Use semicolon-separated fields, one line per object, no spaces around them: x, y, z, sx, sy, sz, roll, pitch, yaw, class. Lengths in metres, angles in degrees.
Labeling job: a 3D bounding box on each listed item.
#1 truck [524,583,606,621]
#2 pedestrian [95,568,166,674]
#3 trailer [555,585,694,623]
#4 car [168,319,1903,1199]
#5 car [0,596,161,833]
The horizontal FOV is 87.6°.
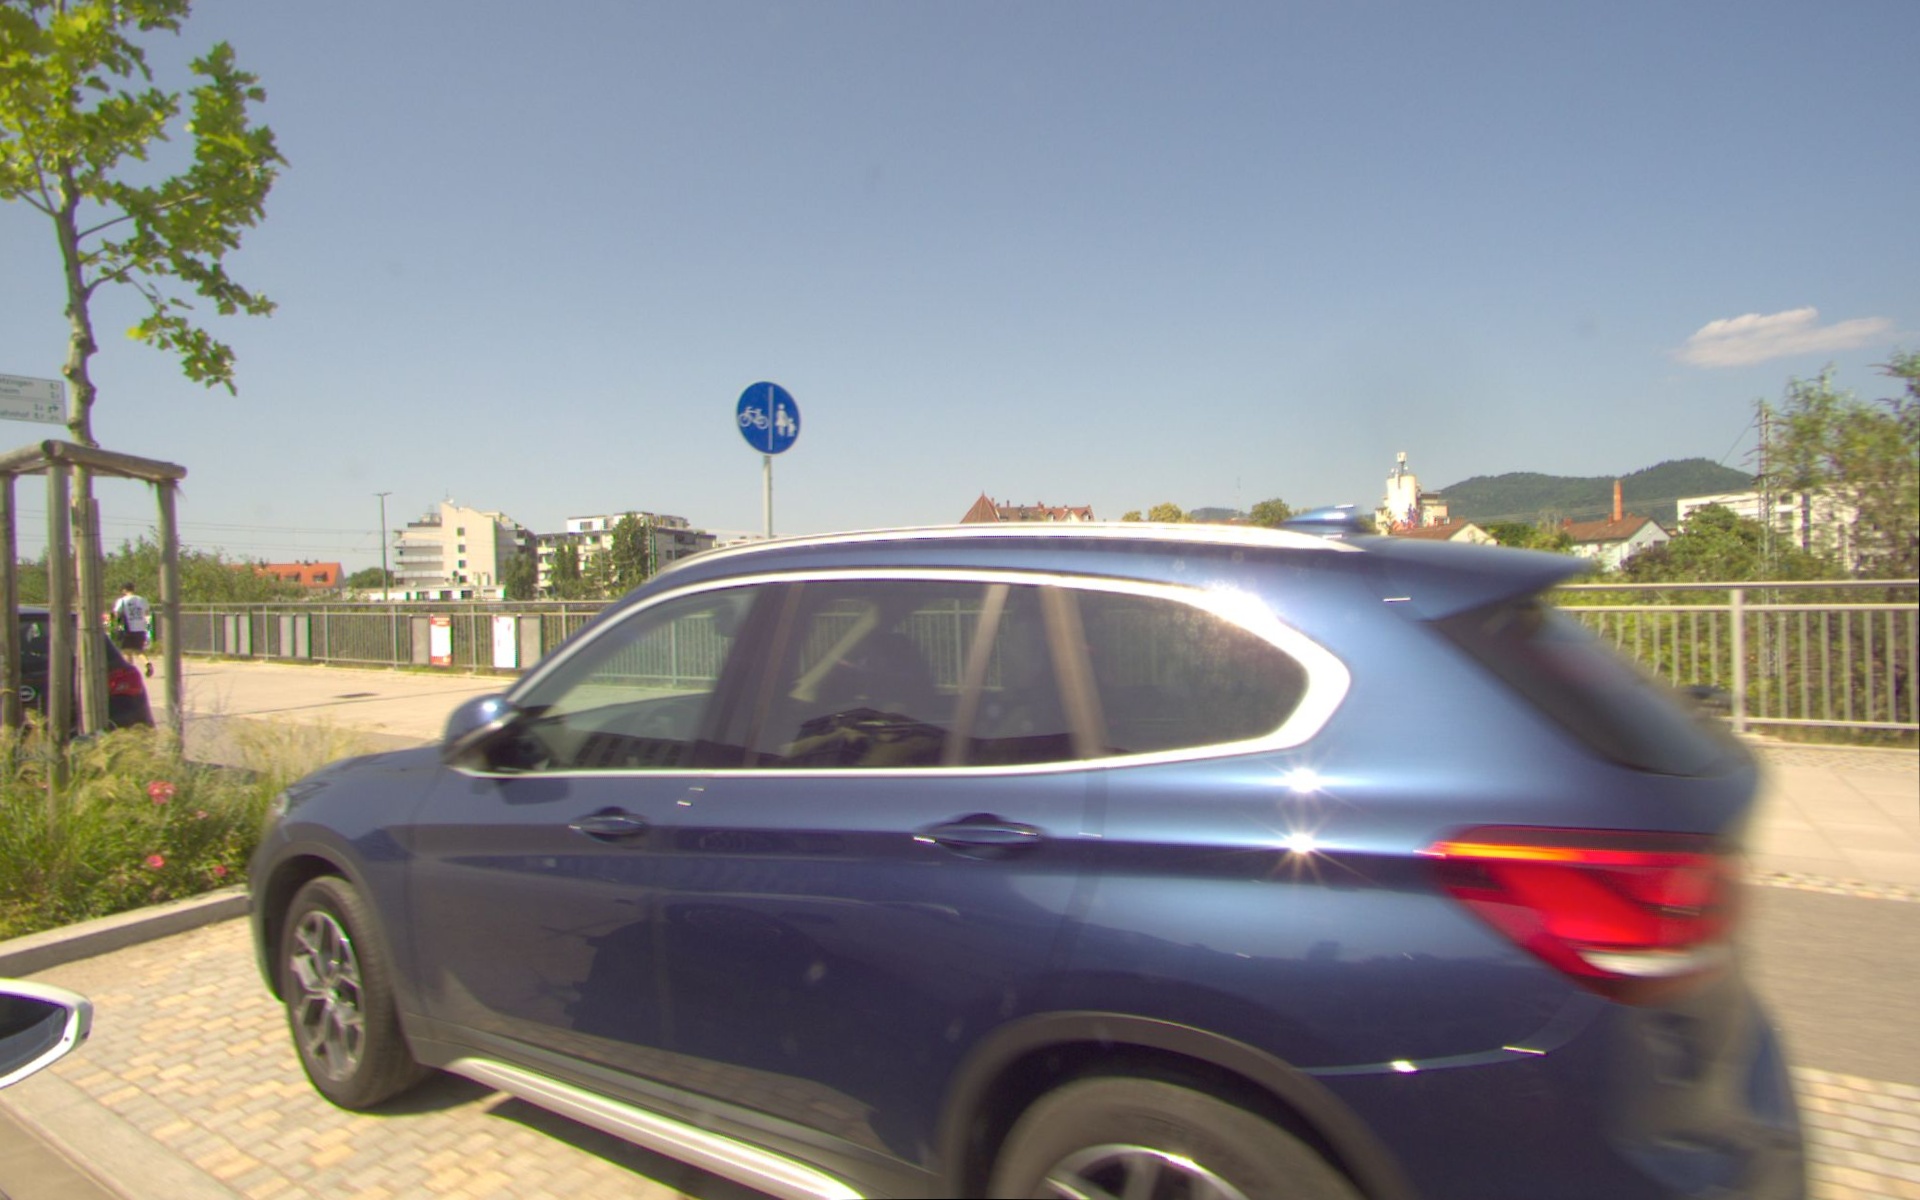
-35.521;0.252;90.378;3.672;3.244;6.483;-1;-2;18;truck
-14.998;0.393;18.103;0.872;1.853;0.757;-1;-1;33;pedestrian
-32.738;0.527;99.263;3.674;3.244;17.238;-1;-2;17;trailer
-0.323;0.584;2.940;4.210;1.706;1.799;-1;2;32;car
-7.956;0.799;7.809;3.496;1.577;1.577;0;3;32;car
